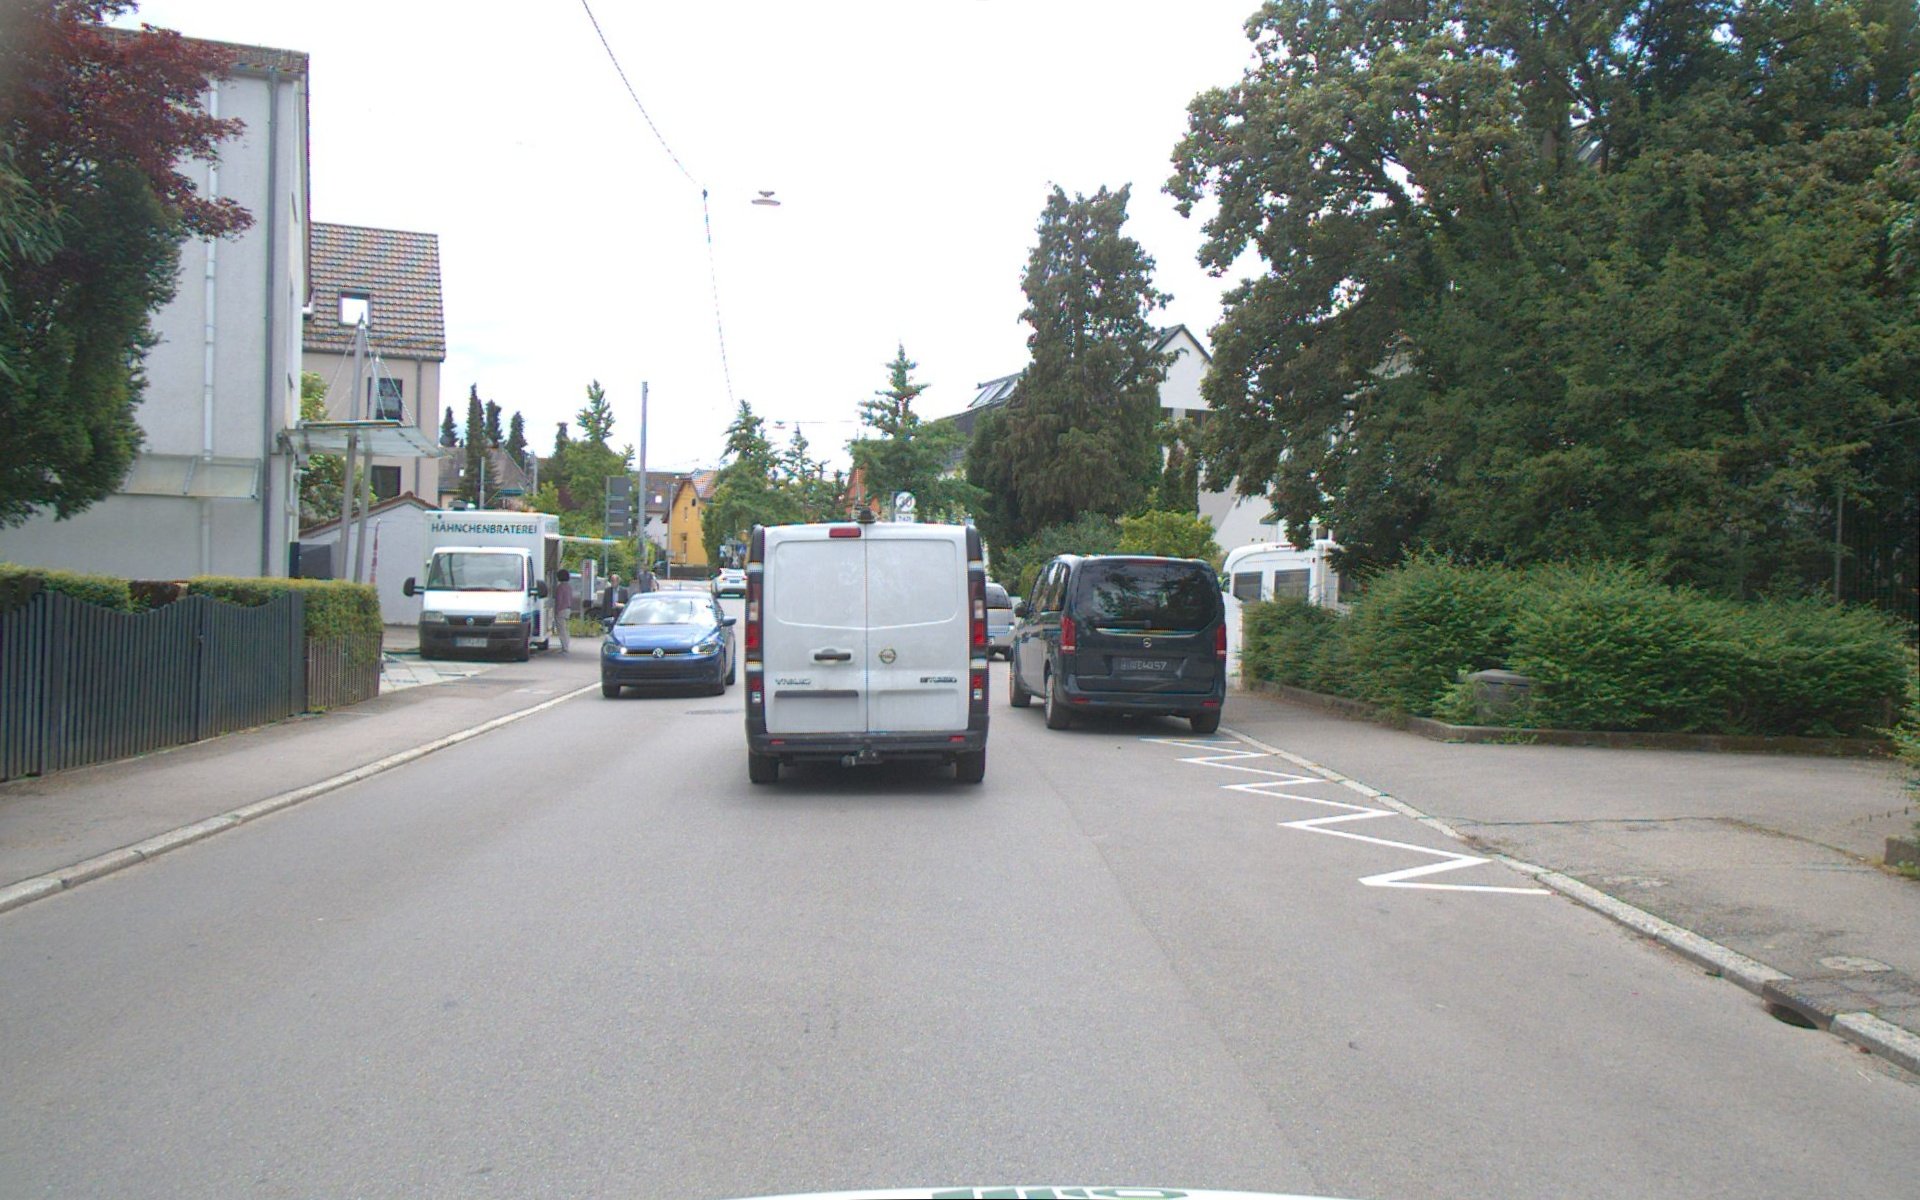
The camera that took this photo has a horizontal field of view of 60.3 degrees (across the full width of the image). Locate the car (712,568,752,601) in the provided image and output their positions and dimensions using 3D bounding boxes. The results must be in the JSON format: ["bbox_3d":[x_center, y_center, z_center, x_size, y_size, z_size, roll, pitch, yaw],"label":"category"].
[{"bbox_3d":[-12.924,-0.889,93.581,1.959,1.813,3.987,0,1,-13],"label":"car"}]

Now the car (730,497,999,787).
[{"bbox_3d":[-0.868,0.301,13.919,1.878,2.037,4.433,1,0,-5],"label":"car"}]

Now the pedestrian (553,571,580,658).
[{"bbox_3d":[-7.896,0.288,33.208,0.394,1.724,0.596,3,0,-10],"label":"pedestrian"}]

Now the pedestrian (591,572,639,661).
[{"bbox_3d":[-6.960,0.330,33.425,0.708,1.716,1.108,3,0,-5],"label":"pedestrian"}]

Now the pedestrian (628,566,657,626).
[{"bbox_3d":[-10.828,-0.144,56.484,0.718,1.979,1.216,3,0,-4],"label":"pedestrian"}]

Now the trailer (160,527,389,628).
[{"bbox_3d":[-16.587,-0.552,40.234,4.775,2.116,1.700,4,1,-11],"label":"trailer"}]

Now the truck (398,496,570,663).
[{"bbox_3d":[-9.227,-0.379,32.689,2.428,2.890,6.692,2,0,-10],"label":"truck"}]

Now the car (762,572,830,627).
[{"bbox_3d":[-5.921,-0.045,59.415,1.959,1.880,3.987,1,0,-13],"label":"car"}]

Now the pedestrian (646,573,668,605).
[{"bbox_3d":[-14.852,-0.532,81.165,0.868,1.511,0.450,4,-1,-33],"label":"pedestrian"}]

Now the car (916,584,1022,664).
[{"bbox_3d":[0.130,0.471,35.592,1.726,1.610,4.011,0,0,-8],"label":"car"}]

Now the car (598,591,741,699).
[{"bbox_3d":[-4.187,0.604,24.298,1.660,1.457,3.924,0,0,-4],"label":"car"}]

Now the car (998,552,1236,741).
[{"bbox_3d":[1.674,0.474,19.484,1.872,1.880,5.153,2,0,-5],"label":"car"}]

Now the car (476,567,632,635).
[{"bbox_3d":[-12.019,0.029,48.937,4.247,1.725,1.788,4,0,-20],"label":"car"}]

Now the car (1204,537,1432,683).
[{"bbox_3d":[7.457,0.172,35.116,2.457,2.728,5.164,4,0,-16],"label":"car"}]
